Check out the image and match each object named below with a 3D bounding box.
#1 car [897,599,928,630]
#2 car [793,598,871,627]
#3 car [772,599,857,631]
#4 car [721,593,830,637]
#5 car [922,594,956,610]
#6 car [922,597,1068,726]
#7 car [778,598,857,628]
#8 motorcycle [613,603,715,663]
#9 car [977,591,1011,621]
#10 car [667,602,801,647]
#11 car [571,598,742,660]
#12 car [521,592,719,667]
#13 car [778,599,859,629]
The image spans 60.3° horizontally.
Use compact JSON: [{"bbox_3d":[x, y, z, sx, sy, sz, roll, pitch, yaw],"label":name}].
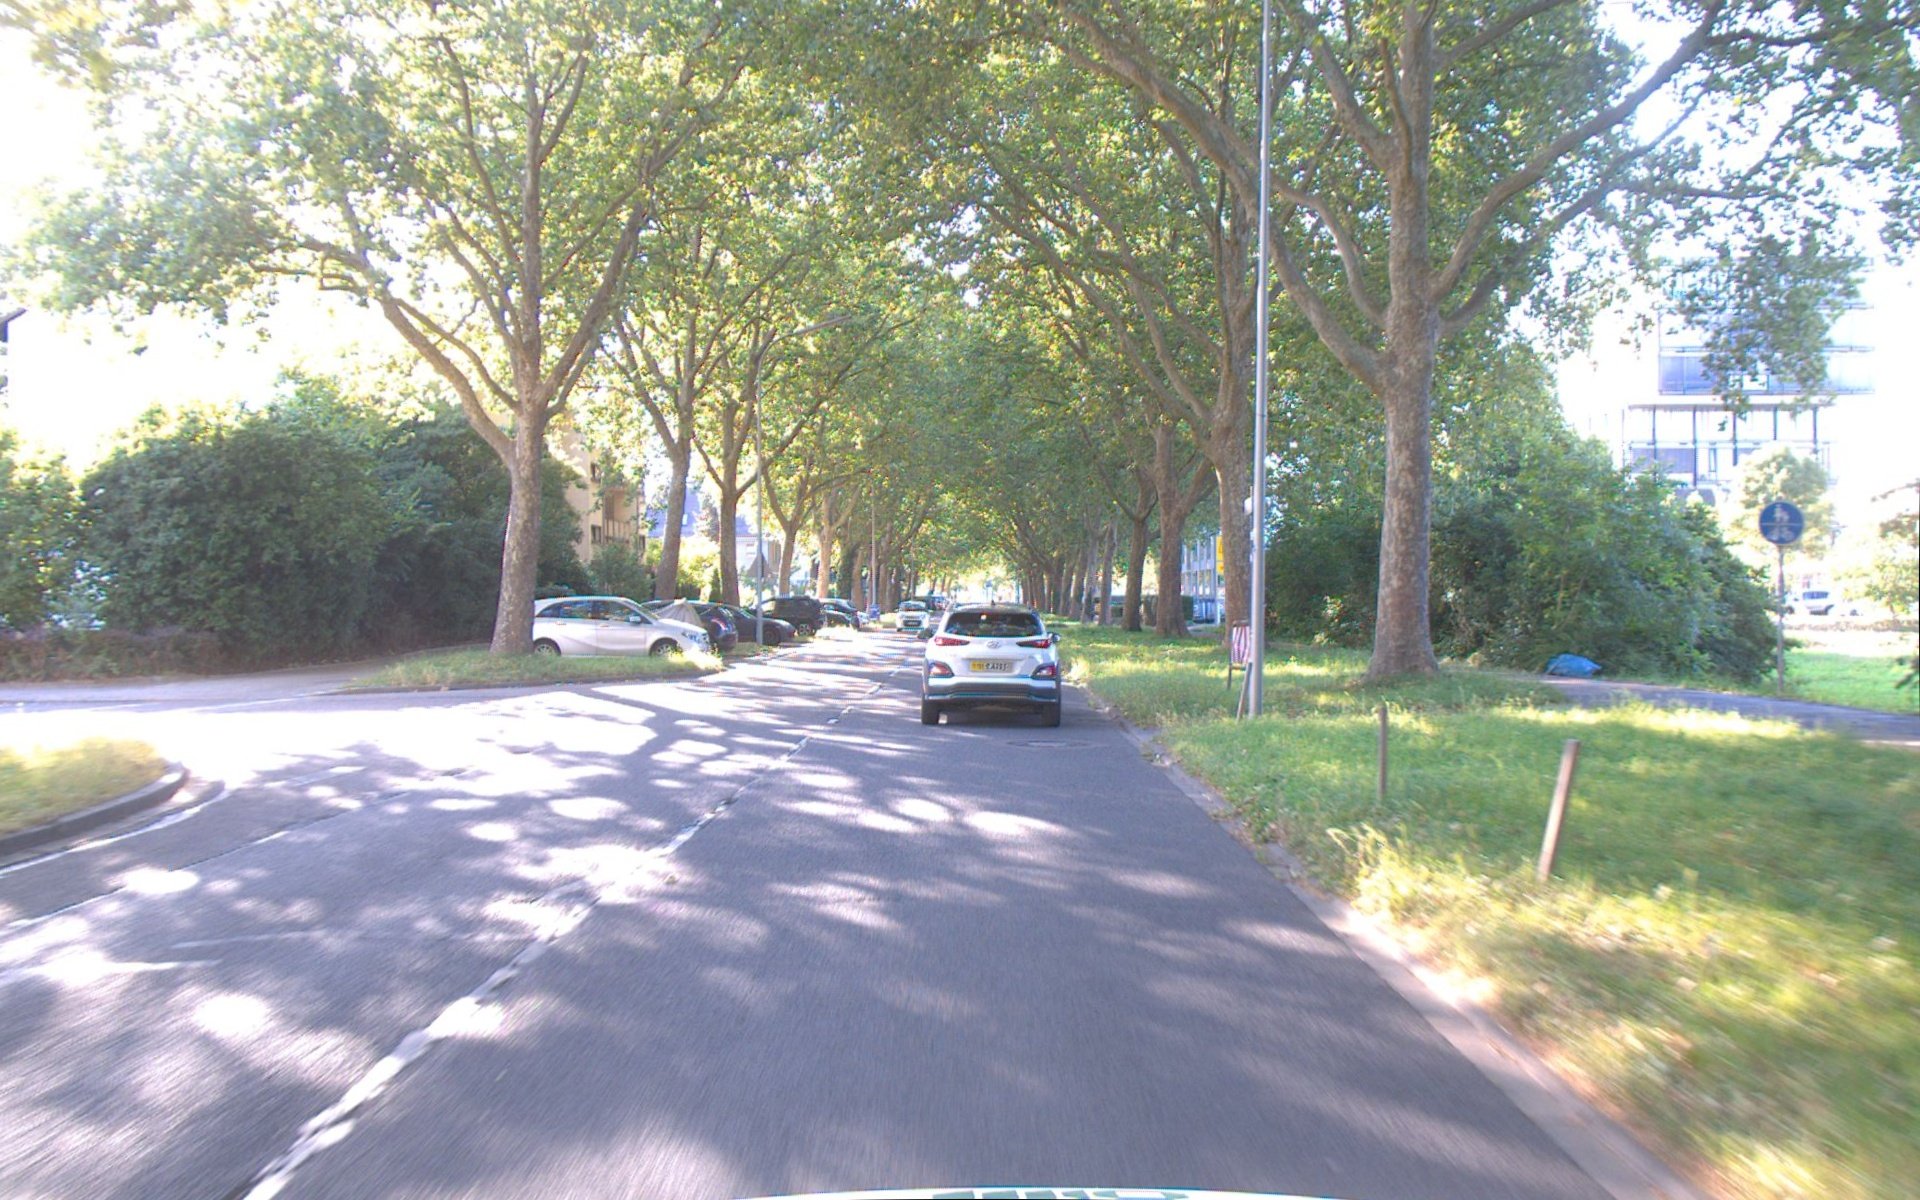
[{"bbox_3d":[-2.327,0.714,81.899,1.504,1.484,3.184,0,0,-1],"label":"car"},{"bbox_3d":[-6.712,0.637,87.238,3.904,1.496,1.810,0,0,2],"label":"car"},{"bbox_3d":[-6.968,0.697,79.525,3.905,1.496,1.780,0,0,0],"label":"car"},{"bbox_3d":[-7.343,0.583,66.056,4.156,1.709,1.671,0,0,0],"label":"car"},{"bbox_3d":[-2.434,0.231,194.024,3.908,1.803,1.998,1,-1,-4],"label":"car"},{"bbox_3d":[0.406,0.758,22.368,1.798,1.583,3.999,0,0,-1],"label":"car"},{"bbox_3d":[-7.298,0.658,84.860,3.905,1.546,1.809,0,0,0],"label":"car"},{"bbox_3d":[-7.086,0.783,39.657,2.338,1.412,0.648,-1,0,-5],"label":"motorcycle"},{"bbox_3d":[1.951,0.349,95.570,1.643,1.725,3.742,0,0,-4],"label":"car"},{"bbox_3d":[-7.335,0.783,53.971,4.154,1.376,1.741,-1,0,-1],"label":"car"},{"bbox_3d":[-7.698,0.725,42.283,4.077,1.532,1.801,0,0,-3],"label":"car"},{"bbox_3d":[-7.592,0.647,37.240,4.100,1.612,1.998,0,0,-4],"label":"car"},{"bbox_3d":[-6.978,0.693,81.719,3.908,1.449,1.808,0,0,-3],"label":"car"}]
